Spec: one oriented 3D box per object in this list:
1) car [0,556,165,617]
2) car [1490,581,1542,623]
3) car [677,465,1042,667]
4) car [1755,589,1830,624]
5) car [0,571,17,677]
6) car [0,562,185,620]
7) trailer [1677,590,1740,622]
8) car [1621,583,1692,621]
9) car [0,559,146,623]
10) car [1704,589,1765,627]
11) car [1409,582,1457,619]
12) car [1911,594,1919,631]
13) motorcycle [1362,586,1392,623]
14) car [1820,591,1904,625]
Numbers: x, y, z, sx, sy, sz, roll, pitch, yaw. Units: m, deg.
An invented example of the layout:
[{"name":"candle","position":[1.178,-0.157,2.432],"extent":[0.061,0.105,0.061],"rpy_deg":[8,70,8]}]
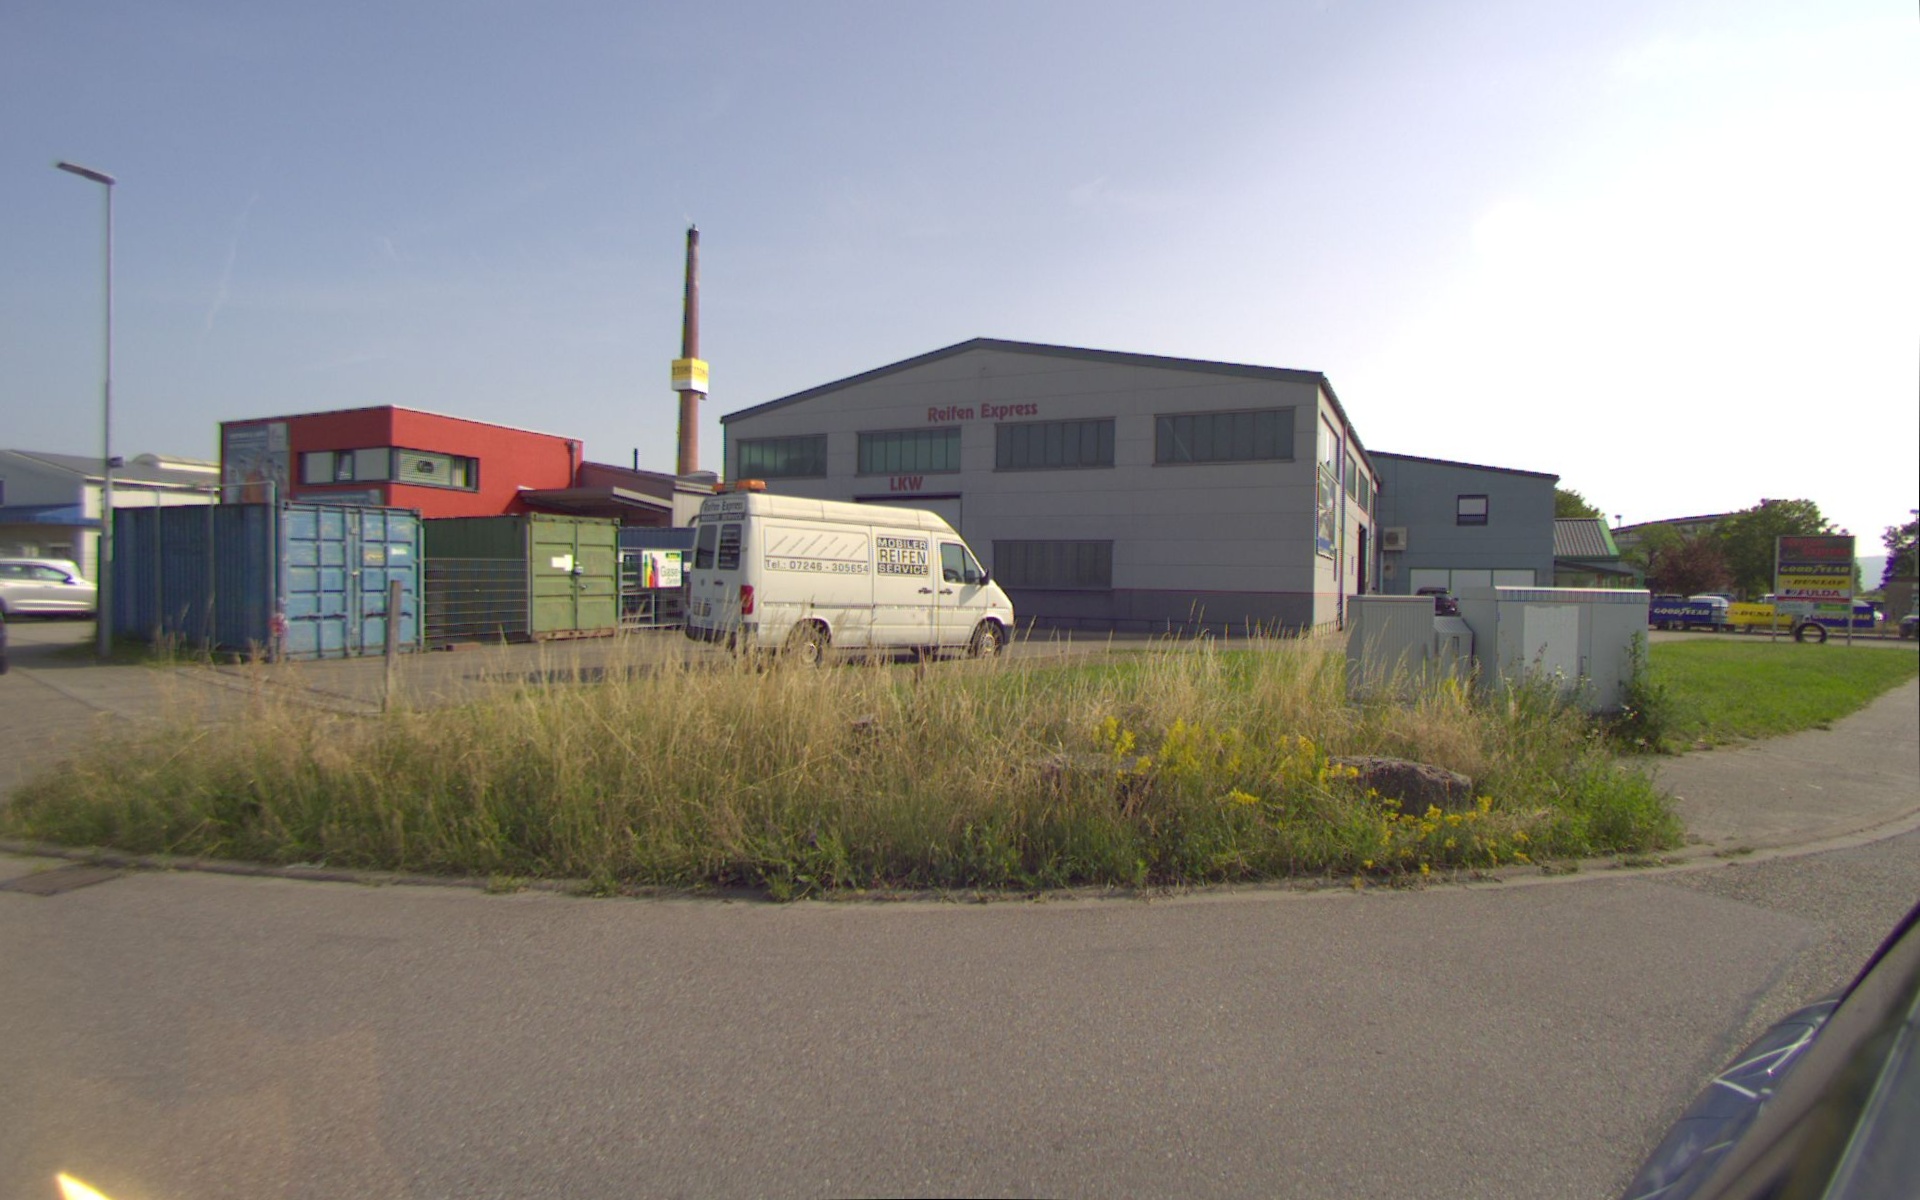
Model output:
[{"name":"car","position":[-28.523,-0.457,32.703],"extent":[1.700,1.819,4.166],"rpy_deg":[1,1,28]},{"name":"car","position":[22.112,0.061,40.347],"extent":[1.623,1.587,3.770],"rpy_deg":[1,1,27]},{"name":"car","position":[-1.415,-0.488,16.341],"extent":[5.777,2.739,1.978],"rpy_deg":[0,1,-41]},{"name":"car","position":[39.889,0.265,48.568],"extent":[1.702,1.592,4.099],"rpy_deg":[1,1,24]},{"name":"car","position":[-15.210,0.300,14.538],"extent":[4.449,1.426,1.786],"rpy_deg":[2,2,38]},{"name":"car","position":[-26.594,-0.293,31.009],"extent":[1.771,1.653,4.166],"rpy_deg":[1,1,28]},{"name":"trailer","position":[30.470,0.247,41.267],"extent":[1.479,1.264,2.952],"rpy_deg":[-1,0,25]},{"name":"car","position":[29.034,0.055,42.313],"extent":[1.627,1.484,4.425],"rpy_deg":[1,1,24]},{"name":"car","position":[-25.138,-0.275,27.485],"extent":[1.771,1.653,4.423],"rpy_deg":[1,1,28]},{"name":"car","position":[37.630,0.345,49.251],"extent":[1.626,1.741,3.188],"rpy_deg":[1,1,24]},{"name":"car","position":[19.373,0.006,41.378],"extent":[1.665,1.420,3.677],"rpy_deg":[1,1,27]},{"name":"car","position":[37.470,0.478,38.150],"extent":[4.312,1.386,1.678],"rpy_deg":[0,1,-37]},{"name":"motorcycle","position":[13.137,0.135,31.869],"extent":[0.794,1.108,2.184],"rpy_deg":[1,1,24]},{"name":"car","position":[42.077,0.337,47.294],"extent":[1.674,1.484,4.228],"rpy_deg":[1,1,24]}]
